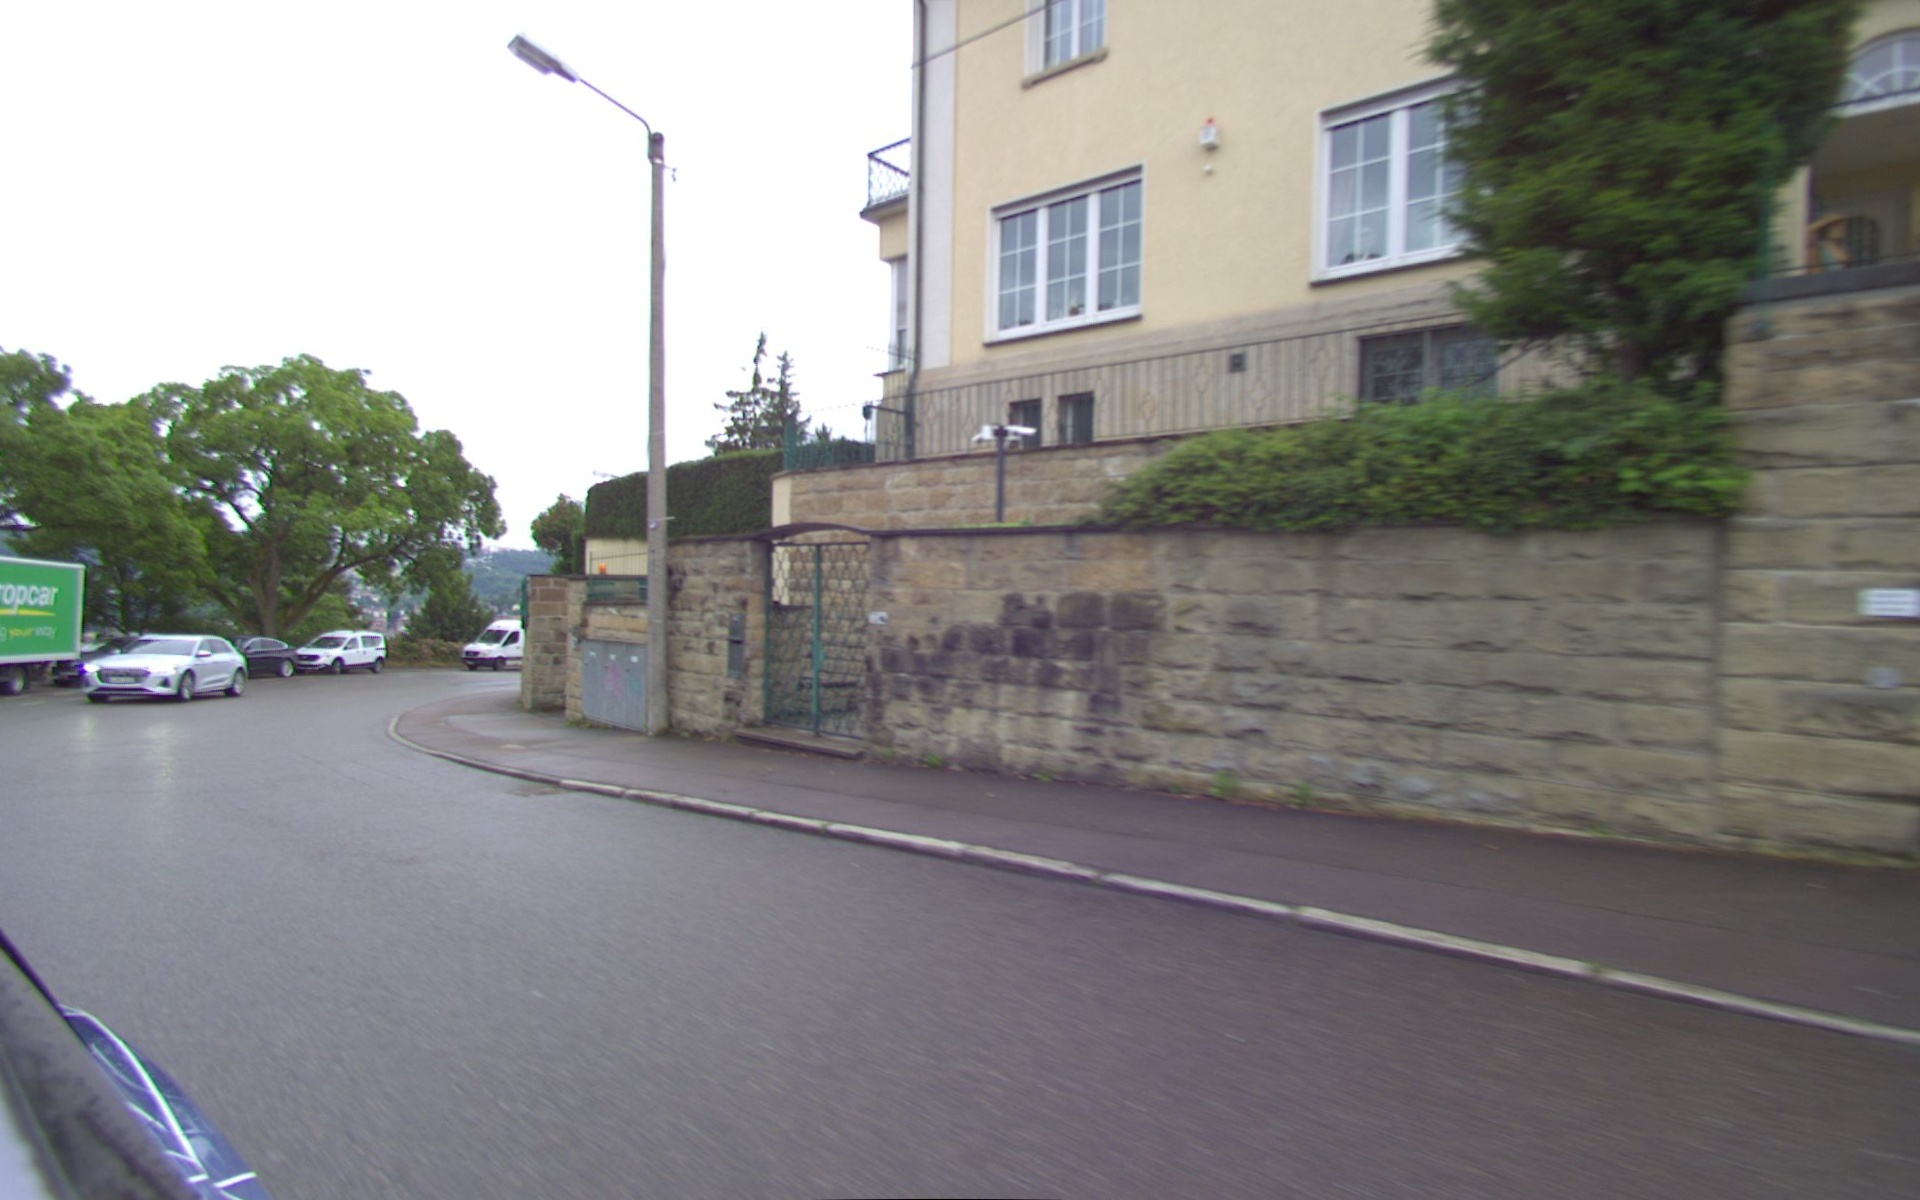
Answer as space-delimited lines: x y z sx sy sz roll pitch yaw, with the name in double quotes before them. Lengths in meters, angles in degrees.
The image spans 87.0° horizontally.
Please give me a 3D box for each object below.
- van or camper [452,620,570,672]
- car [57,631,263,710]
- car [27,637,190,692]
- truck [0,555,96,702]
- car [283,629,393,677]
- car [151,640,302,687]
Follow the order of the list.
"van or camper" -23.553 2.460 53.384 2.059 2.600 5.844 0 -3 22
"car" -19.815 1.743 25.405 2.156 1.721 4.895 3 -4 -14
"car" -25.999 1.975 31.109 1.712 1.515 4.140 2 -4 -6
"truck" -24.094 0.594 23.339 2.735 3.497 8.959 3 -4 -17
"car" -26.115 2.276 42.694 1.729 1.835 4.420 2 -4 2
"car" -26.447 2.330 36.742 1.840 1.554 4.892 1 -4 1
